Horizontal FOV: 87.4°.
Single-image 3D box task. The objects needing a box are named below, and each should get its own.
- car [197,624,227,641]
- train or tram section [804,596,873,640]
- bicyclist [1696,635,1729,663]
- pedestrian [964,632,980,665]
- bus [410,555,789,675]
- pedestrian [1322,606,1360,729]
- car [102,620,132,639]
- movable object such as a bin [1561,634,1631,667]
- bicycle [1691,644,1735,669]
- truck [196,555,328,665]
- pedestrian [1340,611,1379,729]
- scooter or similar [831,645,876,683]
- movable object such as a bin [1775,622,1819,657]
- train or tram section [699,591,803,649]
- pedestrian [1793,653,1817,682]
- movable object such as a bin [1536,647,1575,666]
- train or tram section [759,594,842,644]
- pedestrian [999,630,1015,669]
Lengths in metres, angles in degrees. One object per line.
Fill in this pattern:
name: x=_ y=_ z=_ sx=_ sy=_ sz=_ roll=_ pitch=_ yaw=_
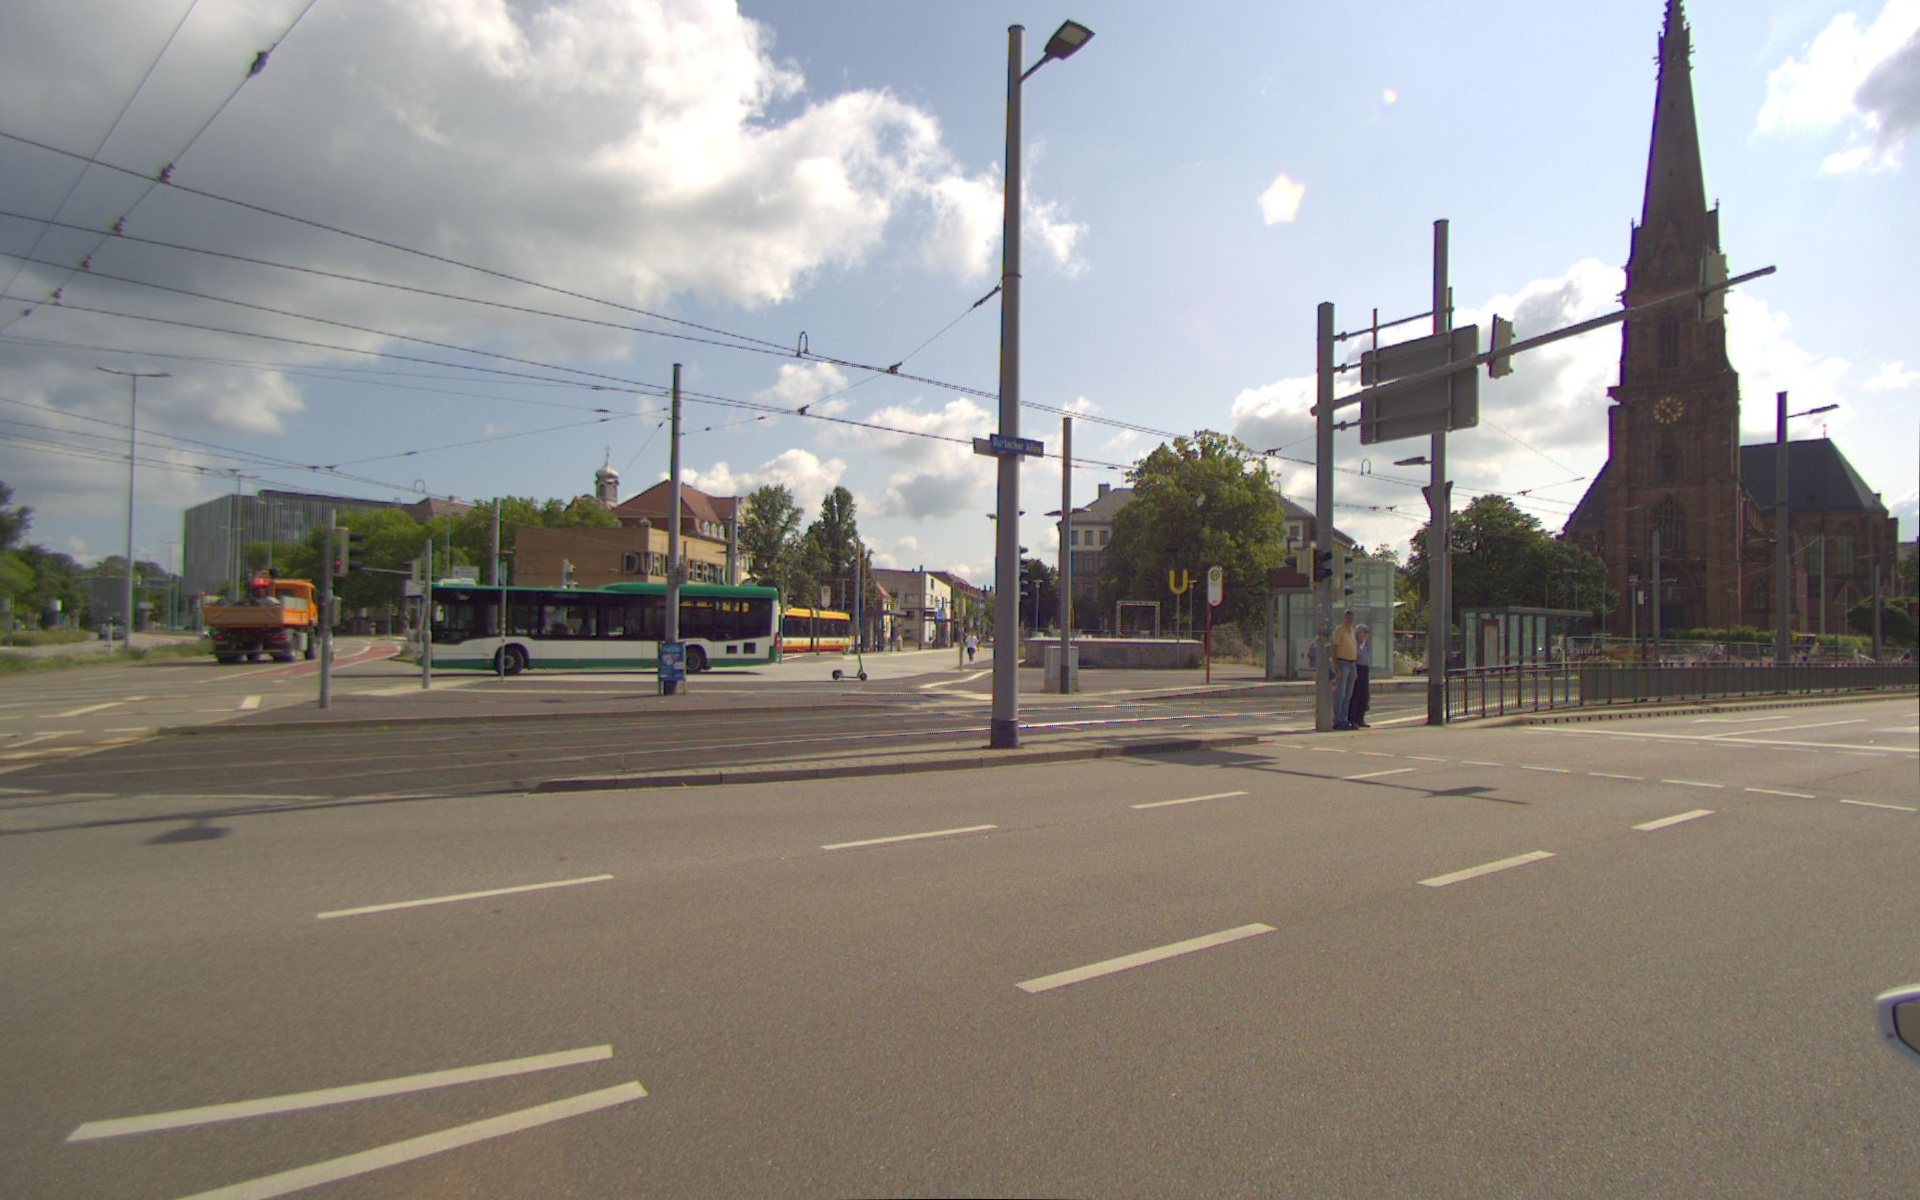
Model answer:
car: x=-72.574 y=3.156 z=97.474 sx=1.820 sy=1.545 sz=3.947 roll=3 pitch=-3 yaw=-44
train or tram section: x=-10.487 y=1.551 z=87.884 sx=3.257 sy=3.527 sz=10.615 roll=-1 pitch=-1 yaw=9
bicyclist: x=45.816 y=2.989 z=61.155 sx=1.669 sy=1.706 sz=1.169 roll=2 pitch=-3 yaw=-37
pedestrian: x=0.641 y=2.513 z=51.858 sx=0.766 sy=1.694 sz=0.721 roll=1 pitch=-2 yaw=4
bus: x=-12.332 y=0.701 z=35.442 sx=12.242 sy=3.668 sz=2.891 roll=2 pitch=-2 yaw=-32
pedestrian: x=6.469 y=1.135 z=17.063 sx=0.421 sy=2.040 sz=0.575 roll=-1 pitch=-2 yaw=43
car: x=-81.162 y=2.881 z=96.680 sx=1.986 sy=1.778 sz=3.951 roll=2 pitch=-3 yaw=-42
movable object such as a bin: x=58.648 y=4.617 z=92.694 sx=1.985 sy=2.949 sz=5.092 roll=3 pitch=-3 yaw=-42
bicycle: x=45.941 y=3.437 z=61.252 sx=3.660 sy=1.445 sz=1.184 roll=3 pitch=-3 yaw=-38
truck: x=-28.348 y=0.523 z=41.179 sx=2.797 sy=4.061 sz=8.026 roll=1 pitch=-2 yaw=-24
pedestrian: x=7.052 y=1.216 z=17.742 sx=0.496 sy=2.040 sz=0.513 roll=-1 pitch=-2 yaw=43
scooter or similar: x=-3.363 y=2.003 z=31.668 sx=1.161 sy=1.182 sz=0.802 roll=3 pitch=-3 yaw=-45
movable object such as a bin: x=77.917 y=3.633 z=93.458 sx=3.954 sy=3.147 sz=1.983 roll=0 pitch=-1 yaw=-32
train or tram section: x=-13.649 y=1.309 z=66.889 sx=3.257 sy=3.527 sz=10.615 roll=-1 pitch=-1 yaw=9
pedestrian: x=60.592 y=4.816 z=72.049 sx=1.039 sy=2.040 sz=1.060 roll=2 pitch=-3 yaw=-32
movable object such as a bin: x=52.000 y=4.921 z=87.663 sx=1.971 sy=1.522 sz=5.128 roll=-1 pitch=-3 yaw=42
train or tram section: x=-12.071 y=1.430 z=77.376 sx=3.257 sy=3.527 sz=10.615 roll=-1 pitch=-1 yaw=9
pedestrian: x=2.226 y=2.330 z=47.463 sx=0.706 sy=1.817 sz=0.563 roll=0 pitch=-2 yaw=7
